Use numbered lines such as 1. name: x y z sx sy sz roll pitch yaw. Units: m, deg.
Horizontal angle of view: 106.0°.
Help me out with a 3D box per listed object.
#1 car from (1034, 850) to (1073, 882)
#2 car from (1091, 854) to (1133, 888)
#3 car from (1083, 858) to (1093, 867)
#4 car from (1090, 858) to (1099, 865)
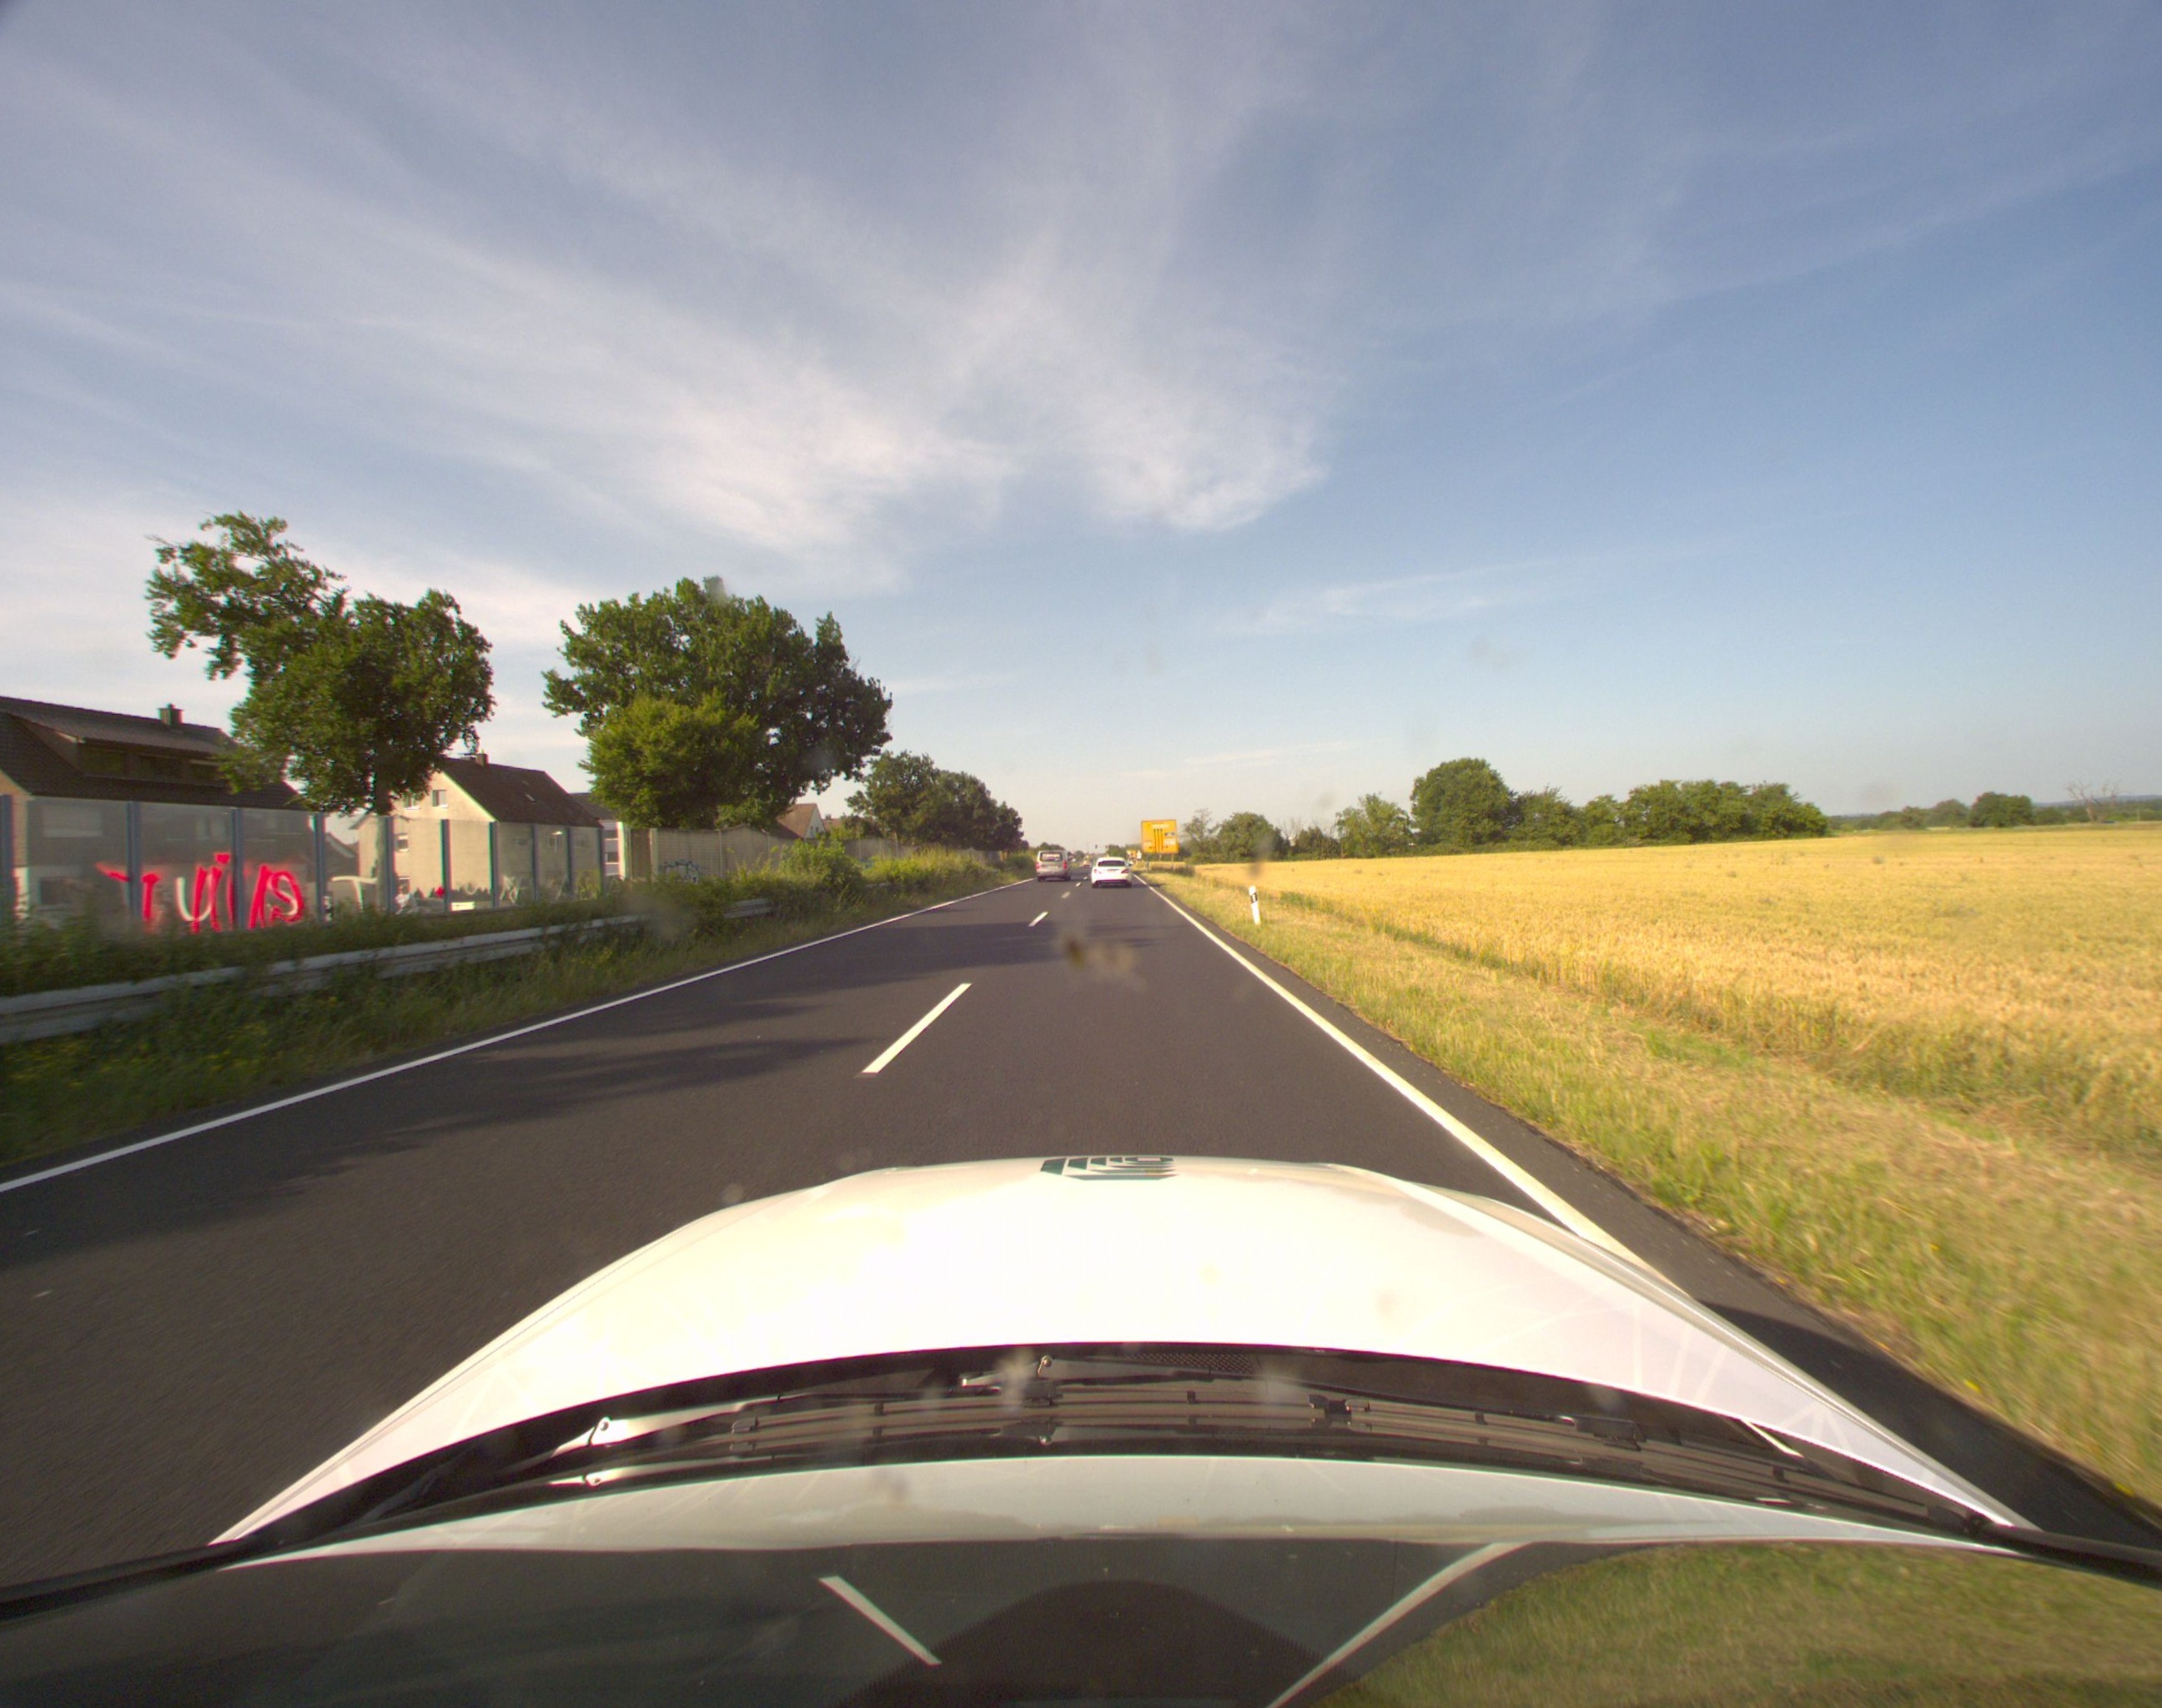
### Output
1. car: -1.671 0.699 50.368 2.017 1.892 4.961 0 0 2
2. car: 1.446 0.774 39.089 1.887 1.509 4.001 -1 -1 1
3. car: 1.227 1.482 139.826 1.711 1.492 3.586 0 -1 2
4. car: 2.777 1.621 169.529 1.711 1.492 3.586 0 -1 2
